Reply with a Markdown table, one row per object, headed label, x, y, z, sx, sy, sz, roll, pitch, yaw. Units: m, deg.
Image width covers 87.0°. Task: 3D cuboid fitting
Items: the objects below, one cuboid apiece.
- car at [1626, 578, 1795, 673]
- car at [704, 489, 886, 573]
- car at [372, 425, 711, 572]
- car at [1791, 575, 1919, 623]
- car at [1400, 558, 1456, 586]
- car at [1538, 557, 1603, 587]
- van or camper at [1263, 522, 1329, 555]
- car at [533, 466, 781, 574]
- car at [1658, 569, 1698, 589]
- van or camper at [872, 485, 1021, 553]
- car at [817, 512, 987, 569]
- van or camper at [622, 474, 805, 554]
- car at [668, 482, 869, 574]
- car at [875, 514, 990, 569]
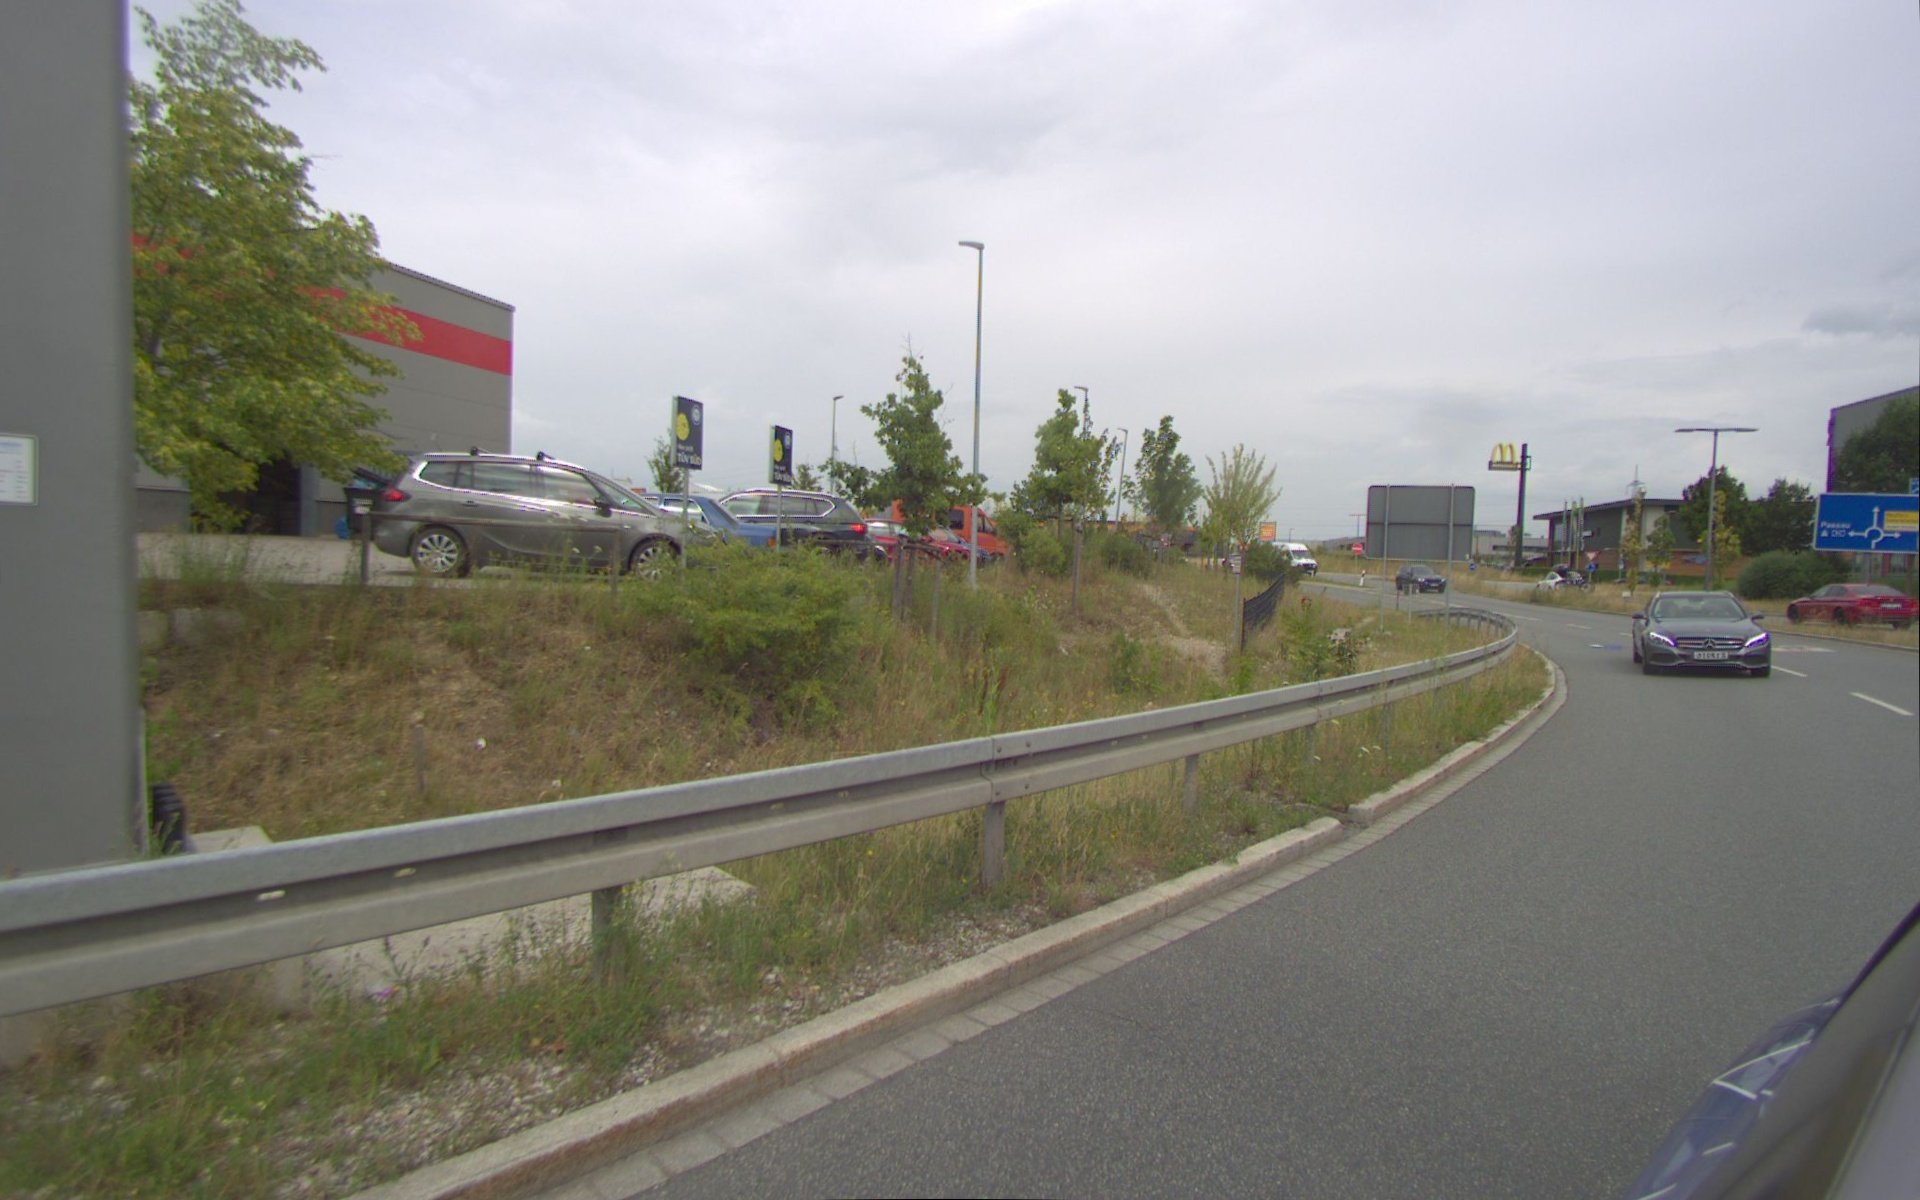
| label | x | y | z | sx | sy | sz | roll | pitch | yaw |
| --- | --- | --- | --- | --- | --- | --- | --- | --- | --- |
| car | 13.742 | 0.389 | 18.800 | 1.890 | 1.516 | 4.296 | -1 | 1 | 29 |
| car | -3.595 | -1.480 | 22.200 | 3.716 | 1.537 | 1.695 | 3 | 1 | -9 |
| car | -5.572 | -1.332 | 14.019 | 4.082 | 1.805 | 1.808 | -1 | 1 | -14 |
| car | 29.821 | -0.081 | 33.423 | 1.772 | 1.465 | 4.948 | -1 | 1 | 16 |
| car | 30.055 | -1.792 | 65.054 | 1.810 | 1.741 | 3.999 | -1 | 1 | 2 |
| car | 36.101 | -1.626 | 59.976 | 1.886 | 1.646 | 4.619 | -1 | 1 | 13 |
| van or camper | 28.123 | -5.104 | 84.971 | 2.285 | 2.682 | 6.060 | 0 | 3 | -15 |
| car | -4.965 | -1.311 | 17.042 | 3.779 | 1.674 | 1.736 | -1 | 1 | -9 |
| car | 65.522 | -1.910 | 92.359 | 3.946 | 1.678 | 1.896 | -2 | 4 | -38 |
| van or camper | -0.448 | -2.622 | 33.498 | 4.579 | 2.022 | 1.817 | 0 | 1 | -26 |
| car | -1.642 | -1.634 | 27.793 | 4.494 | 1.417 | 1.707 | 1 | 3 | -9 |
| van or camper | -10.986 | -3.831 | 45.084 | 7.630 | 3.217 | 2.481 | 3 | 2 | 16 |
| car | -3.688 | -1.363 | 19.582 | 3.656 | 1.674 | 1.521 | -1 | 1 | -12 |
| car | -0.857 | -1.761 | 30.674 | 3.239 | 1.398 | 1.504 | 4 | 2 | -9 |
